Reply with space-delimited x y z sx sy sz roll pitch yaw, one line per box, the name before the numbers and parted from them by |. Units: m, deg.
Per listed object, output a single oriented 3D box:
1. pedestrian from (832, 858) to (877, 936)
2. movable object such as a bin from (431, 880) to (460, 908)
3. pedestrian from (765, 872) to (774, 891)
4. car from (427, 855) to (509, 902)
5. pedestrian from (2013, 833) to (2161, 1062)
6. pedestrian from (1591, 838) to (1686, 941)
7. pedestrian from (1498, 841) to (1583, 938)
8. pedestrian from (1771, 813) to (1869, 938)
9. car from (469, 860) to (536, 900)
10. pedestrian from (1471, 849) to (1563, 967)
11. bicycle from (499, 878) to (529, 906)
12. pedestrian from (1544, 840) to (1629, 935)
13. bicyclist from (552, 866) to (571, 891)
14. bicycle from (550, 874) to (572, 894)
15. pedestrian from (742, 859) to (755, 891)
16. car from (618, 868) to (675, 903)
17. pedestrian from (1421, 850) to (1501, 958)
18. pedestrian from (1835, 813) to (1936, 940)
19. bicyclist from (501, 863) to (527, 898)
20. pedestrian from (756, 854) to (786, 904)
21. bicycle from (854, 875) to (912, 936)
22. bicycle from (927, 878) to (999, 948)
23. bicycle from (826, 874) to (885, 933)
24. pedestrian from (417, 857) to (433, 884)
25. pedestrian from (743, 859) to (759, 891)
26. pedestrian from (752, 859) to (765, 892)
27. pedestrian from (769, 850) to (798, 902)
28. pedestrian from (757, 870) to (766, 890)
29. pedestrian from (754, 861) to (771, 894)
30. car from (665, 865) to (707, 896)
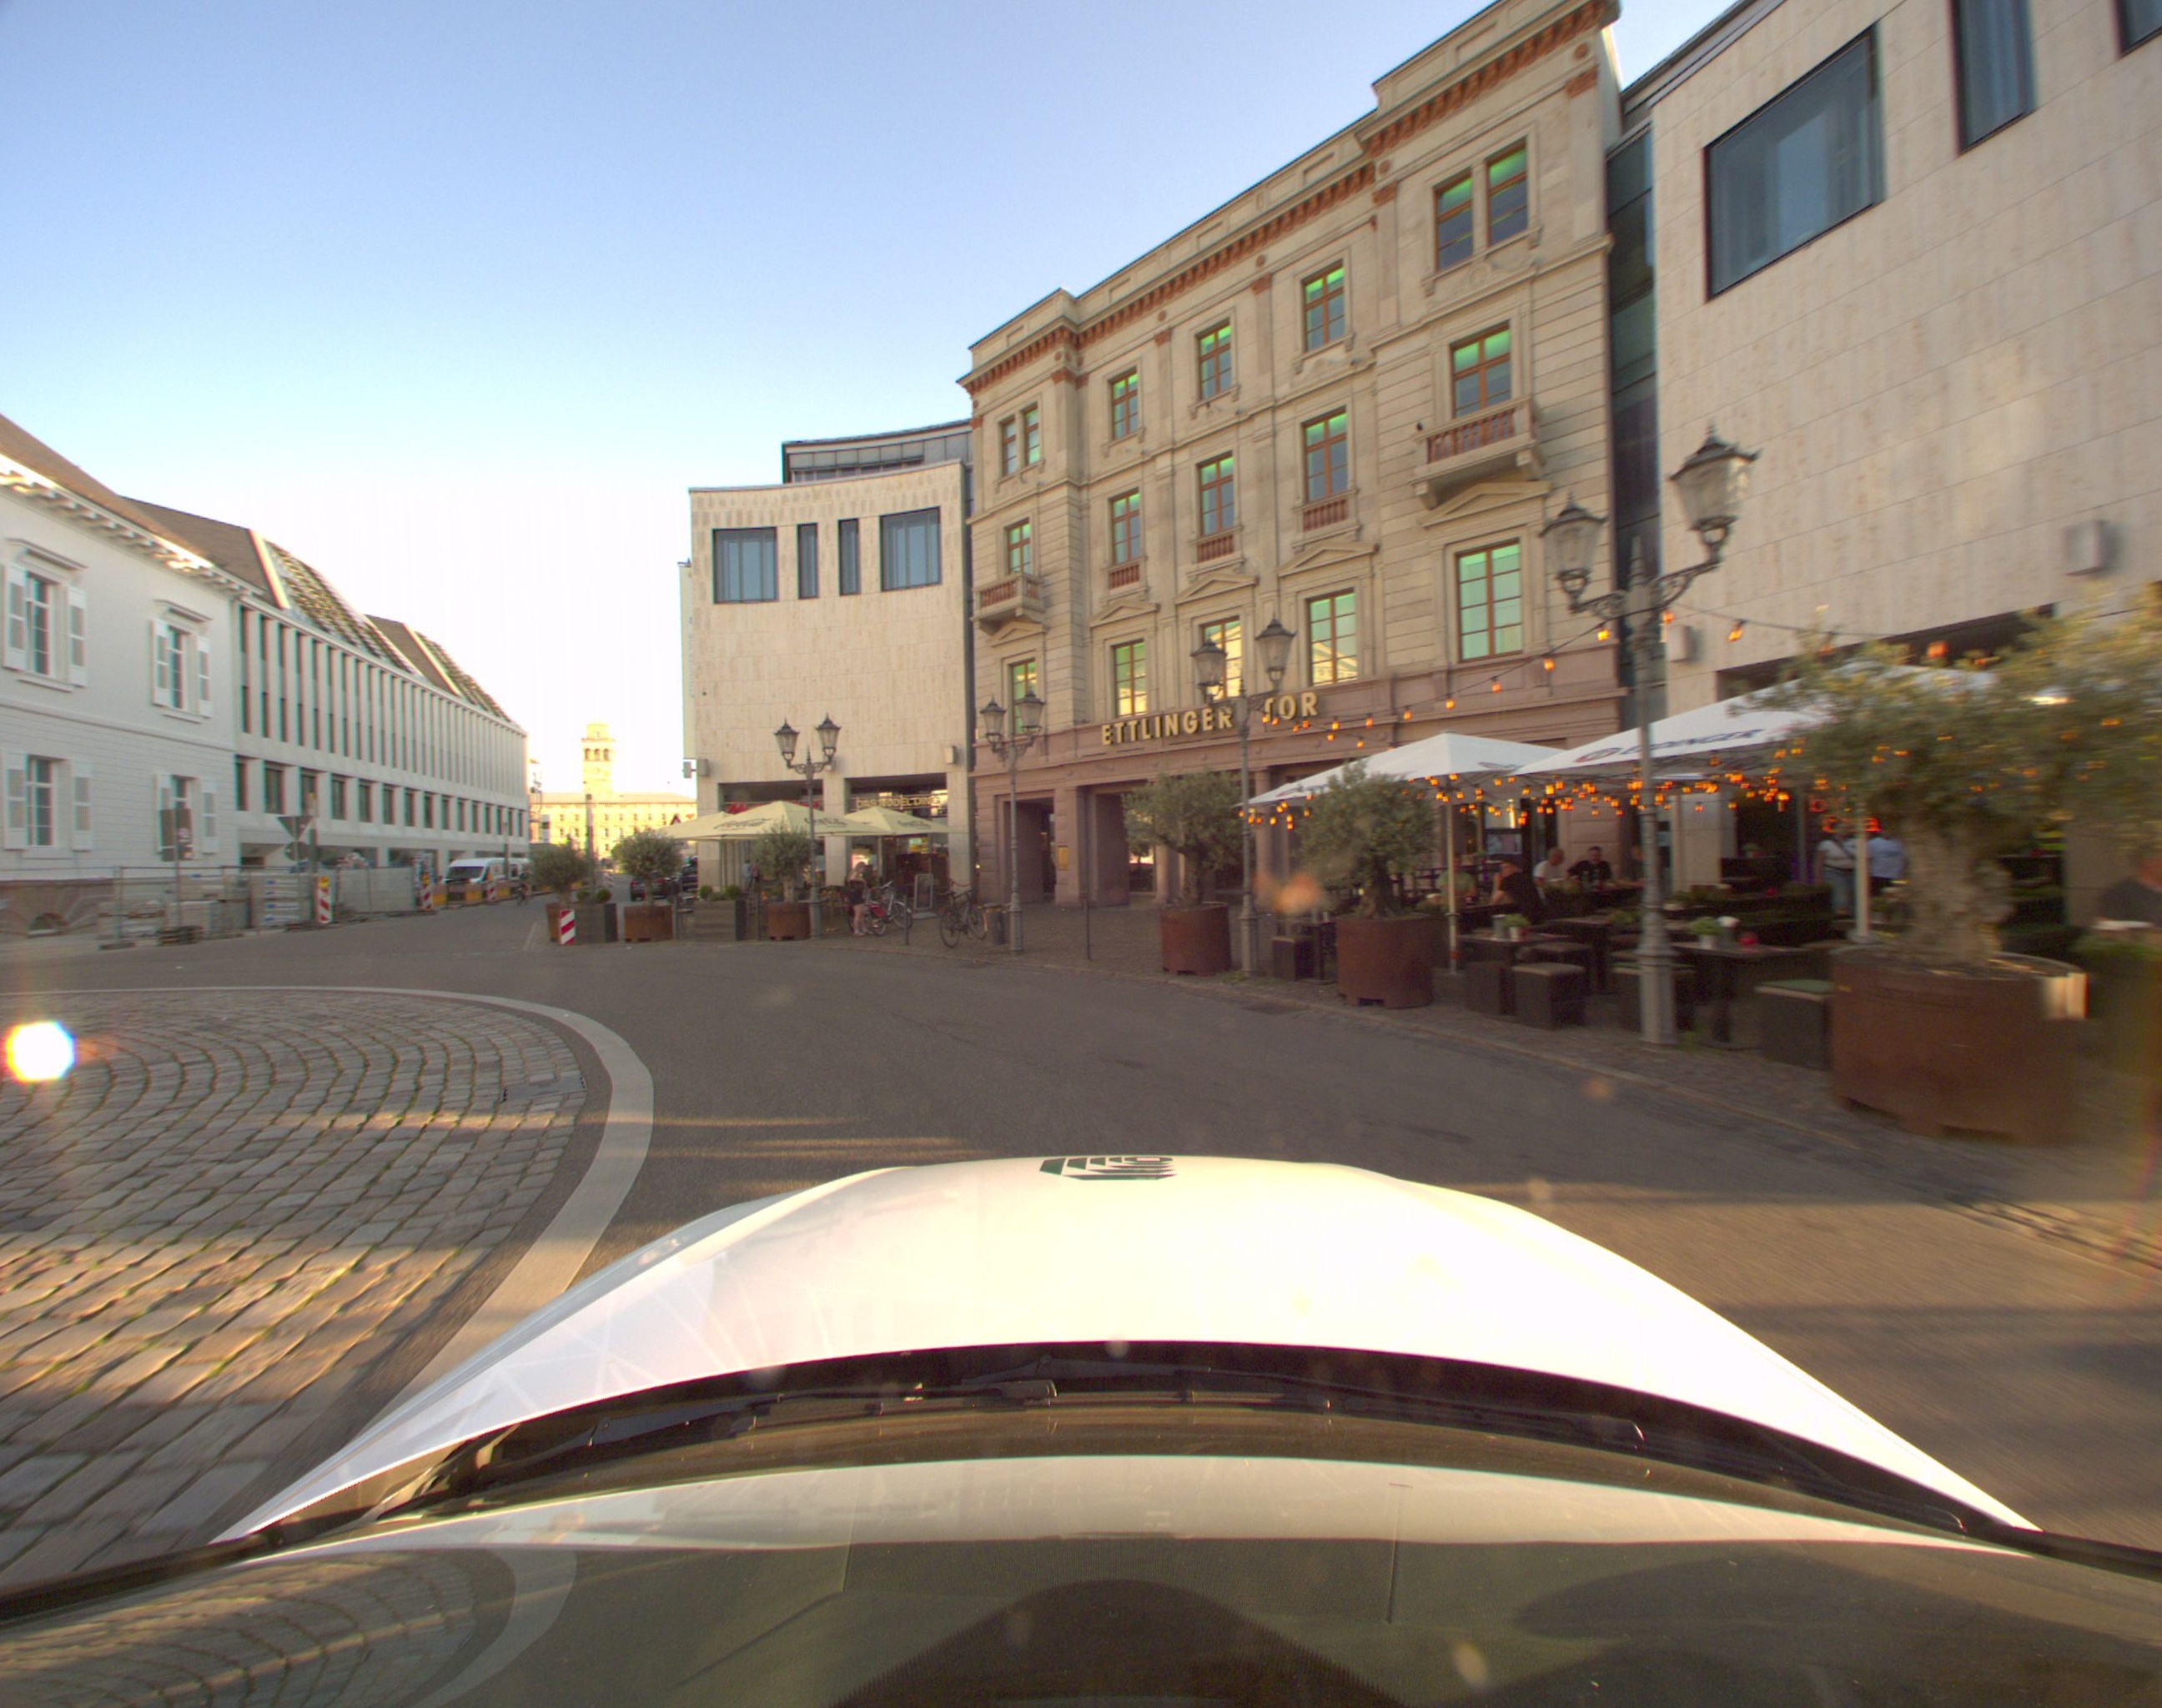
pedestrian | -4.765 0.884 17.170 0.745 1.588 0.714 -2 0 -3
movable object such as a bin | -34.050 2.129 43.660 1.050 1.466 1.379 -1 -1 -33
pedestrian | -16.836 1.507 43.975 0.421 0.986 0.522 -2 1 -21
car | -35.571 1.370 47.466 2.181 2.470 5.957 -1 0 -20
pedestrian | 7.237 0.588 5.565 0.718 1.447 0.866 -2 0 3
pedestrian | 8.219 0.504 12.045 0.771 1.447 0.851 -2 0 -5
pedestrian | 7.211 0.534 12.813 0.771 1.447 0.851 -2 0 -7
pedestrian | 11.112 0.315 12.289 0.720 1.802 0.986 -2 0 18
car | -38.438 1.677 54.287 2.181 2.470 5.957 -1 0 -21
pedestrian | 5.590 0.668 10.492 0.718 1.447 0.866 -2 0 3
bicycle | -27.165 1.793 39.067 0.800 1.217 2.214 -2 0 -25
pedestrian | 8.058 0.520 13.018 0.771 1.447 0.851 -2 0 -5
bicyclist | -32.355 1.512 50.703 0.800 1.532 0.966 -2 0 -24
bicycle | -32.351 1.855 50.667 0.800 1.217 2.216 -2 0 -23
pedestrian | -18.378 1.160 45.032 0.593 1.698 0.691 -2 0 -23
car | -22.079 1.563 41.538 1.801 1.490 4.165 -5 1 -19
pedestrian | 5.308 0.676 11.435 0.718 1.447 0.866 -2 0 3
pedestrian | 11.860 0.323 12.037 0.721 1.802 0.854 -2 0 17
bicyclist | -27.183 1.264 39.077 0.800 1.603 1.220 -2 0 -25
pedestrian | -11.087 0.888 29.179 0.711 1.745 0.671 -2 0 9
bicycle | -4.221 1.074 17.533 0.602 1.128 1.909 -2 2 4
bicycle | -2.229 1.086 15.616 0.601 1.128 1.914 -1 2 15
bicycle | -5.005 1.076 18.201 0.602 1.128 1.909 -2 2 4
pedestrian | -38.819 0.989 48.212 0.545 1.577 0.575 -2 0 -23
pedestrian | -17.812 1.122 44.000 0.768 1.681 0.870 -2 1 -22
pedestrian | -18.250 1.205 46.091 0.636 1.774 0.769 -2 1 -21
pedestrian | -10.933 0.811 29.961 0.711 1.862 0.671 -2 0 11
pedestrian | -17.580 1.437 44.867 0.421 1.097 0.522 -2 1 -21
pedestrian | -16.825 1.214 43.048 0.768 1.681 0.870 -2 1 -22
car | -24.168 1.601 49.929 1.775 1.637 4.029 -5 1 -20
